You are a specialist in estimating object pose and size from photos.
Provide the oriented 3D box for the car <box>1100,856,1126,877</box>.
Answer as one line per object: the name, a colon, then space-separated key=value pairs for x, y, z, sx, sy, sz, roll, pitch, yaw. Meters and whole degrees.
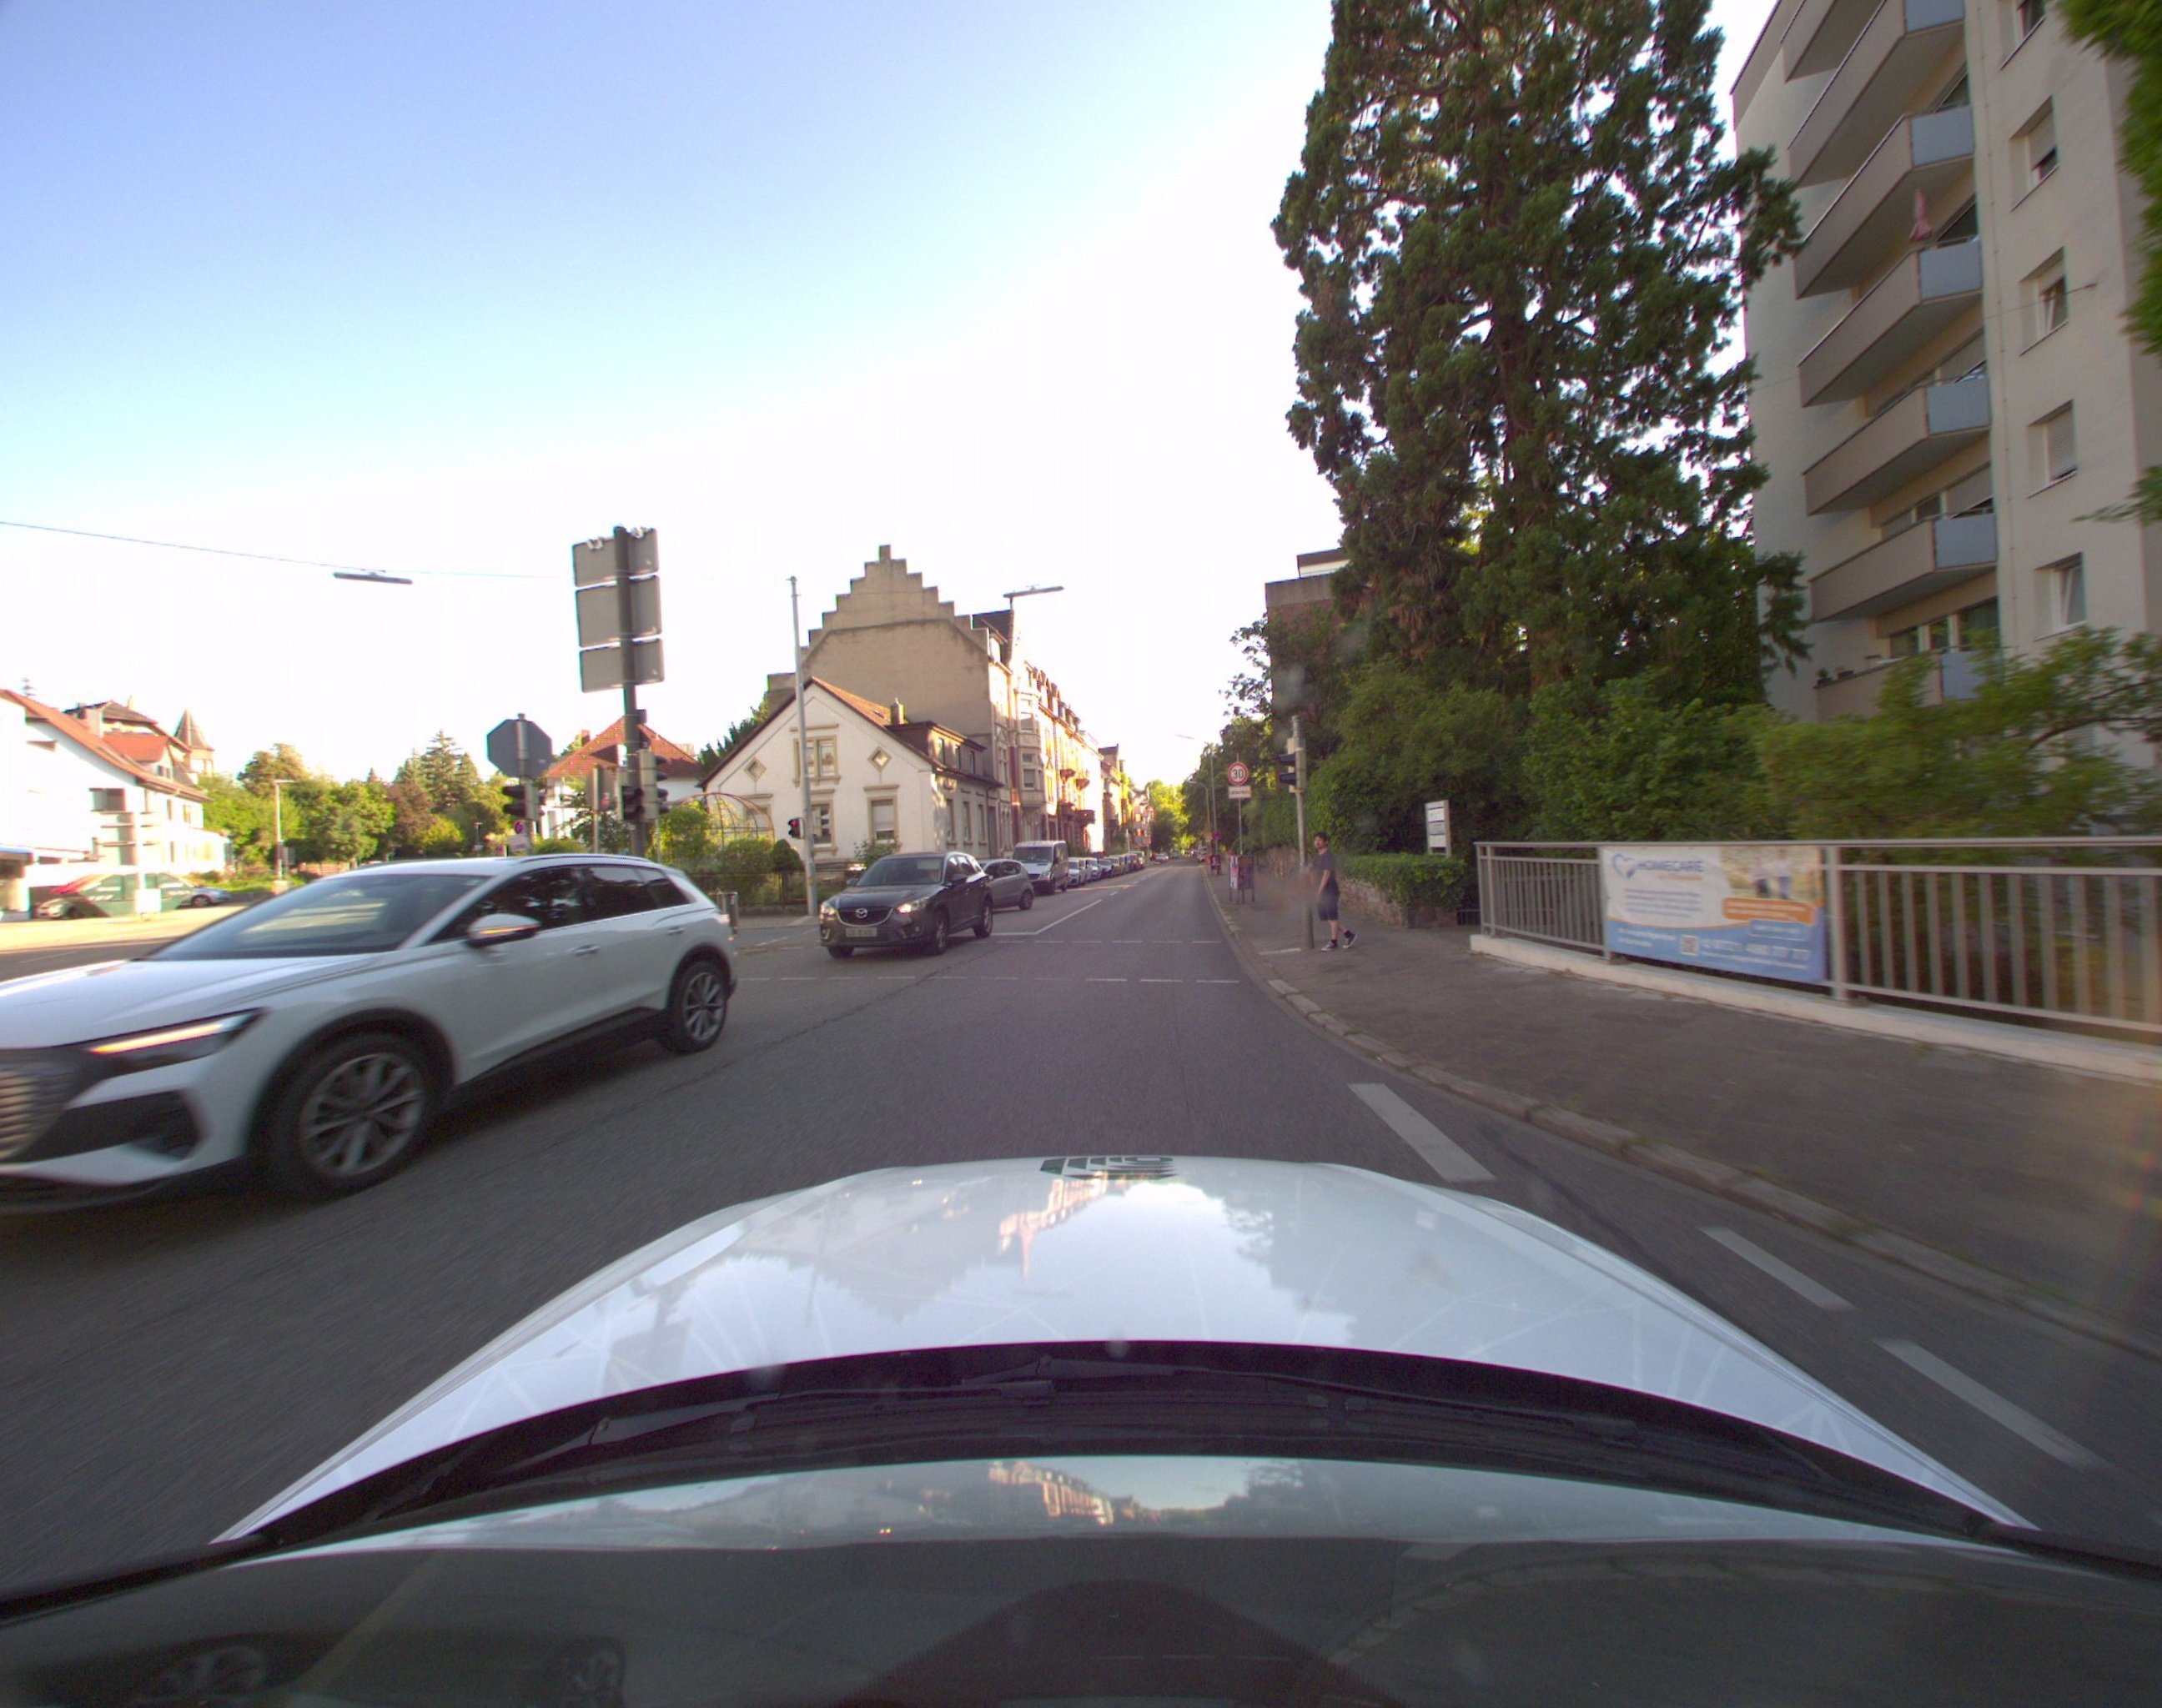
car: x=2.537 y=0.968 z=63.792 sx=1.693 sy=1.503 sz=4.080 roll=-2 pitch=-1 yaw=7

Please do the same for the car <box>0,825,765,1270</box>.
car: x=-4.076 y=0.699 z=5.350 sx=1.766 sy=1.648 sz=4.543 roll=-2 pitch=1 yaw=6

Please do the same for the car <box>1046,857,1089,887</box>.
car: x=-0.682 y=0.929 z=43.577 sx=1.693 sy=1.503 sz=3.831 roll=-2 pitch=0 yaw=7

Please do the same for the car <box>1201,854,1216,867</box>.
car: x=18.263 y=0.933 z=116.754 sx=1.981 sy=1.517 sz=4.011 roll=-4 pitch=1 yaw=10

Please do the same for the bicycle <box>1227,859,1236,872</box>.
bicycle: x=11.009 y=0.834 z=59.588 sx=0.563 sy=0.970 sz=0.493 roll=-2 pitch=1 yaw=6

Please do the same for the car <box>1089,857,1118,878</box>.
car: x=1.669 y=0.970 z=58.773 sx=1.693 sy=1.366 sz=3.867 roll=-2 pitch=0 yaw=7

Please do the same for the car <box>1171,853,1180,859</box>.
car: x=25.091 y=0.533 z=216.272 sx=1.982 sy=1.491 sz=4.481 roll=-4 pitch=1 yaw=8

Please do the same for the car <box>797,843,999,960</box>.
car: x=-2.926 y=0.690 z=14.149 sx=1.942 sy=1.648 sz=4.294 roll=-2 pitch=1 yaw=8

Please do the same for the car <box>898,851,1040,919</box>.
car: x=-3.077 y=0.808 z=23.305 sx=1.935 sy=1.648 sz=4.309 roll=-1 pitch=1 yaw=25

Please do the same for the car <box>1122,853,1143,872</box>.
car: x=5.013 y=0.838 z=78.781 sx=1.693 sy=1.738 sz=3.865 roll=-2 pitch=0 yaw=7

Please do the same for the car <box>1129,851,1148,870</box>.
car: x=6.356 y=0.665 z=89.552 sx=1.783 sy=2.010 sz=4.707 roll=-2 pitch=0 yaw=7

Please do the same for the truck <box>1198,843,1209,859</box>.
truck: x=23.799 y=-0.518 z=158.038 sx=1.982 sy=2.896 sz=4.481 roll=-4 pitch=1 yaw=8

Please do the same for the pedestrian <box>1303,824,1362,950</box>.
pedestrian: x=3.531 y=0.444 z=11.462 sx=0.599 sy=1.693 sz=0.613 roll=-4 pitch=0 yaw=7

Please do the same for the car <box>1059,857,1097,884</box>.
car: x=-0.141 y=0.957 z=49.076 sx=1.693 sy=1.503 sz=4.030 roll=-2 pitch=0 yaw=9

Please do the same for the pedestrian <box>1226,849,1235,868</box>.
pedestrian: x=11.069 y=0.325 z=60.196 sx=0.594 sy=1.403 sz=0.669 roll=-2 pitch=1 yaw=6

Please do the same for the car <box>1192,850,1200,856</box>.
car: x=33.152 y=-0.227 z=235.141 sx=1.984 sy=1.491 sz=4.477 roll=-4 pitch=1 yaw=5

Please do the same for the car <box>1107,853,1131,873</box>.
car: x=3.225 y=0.773 z=68.766 sx=1.693 sy=1.584 sz=3.642 roll=-2 pitch=0 yaw=7

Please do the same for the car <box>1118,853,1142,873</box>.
car: x=4.422 y=0.796 z=73.592 sx=1.692 sy=1.707 sz=4.452 roll=-2 pitch=0 yaw=9

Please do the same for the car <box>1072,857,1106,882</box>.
car: x=0.570 y=0.989 z=53.626 sx=1.693 sy=1.536 sz=4.558 roll=-2 pitch=0 yaw=7

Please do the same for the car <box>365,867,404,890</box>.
car: x=-69.371 y=2.424 z=81.159 sx=2.005 sy=2.013 sz=3.964 roll=-2 pitch=1 yaw=-28

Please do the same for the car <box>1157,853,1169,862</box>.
car: x=15.111 y=0.582 z=150.210 sx=1.982 sy=1.491 sz=4.481 roll=-4 pitch=1 yaw=8

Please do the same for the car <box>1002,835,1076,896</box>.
car: x=-1.776 y=0.465 z=36.916 sx=2.056 sy=2.460 sz=6.029 roll=-2 pitch=0 yaw=9
